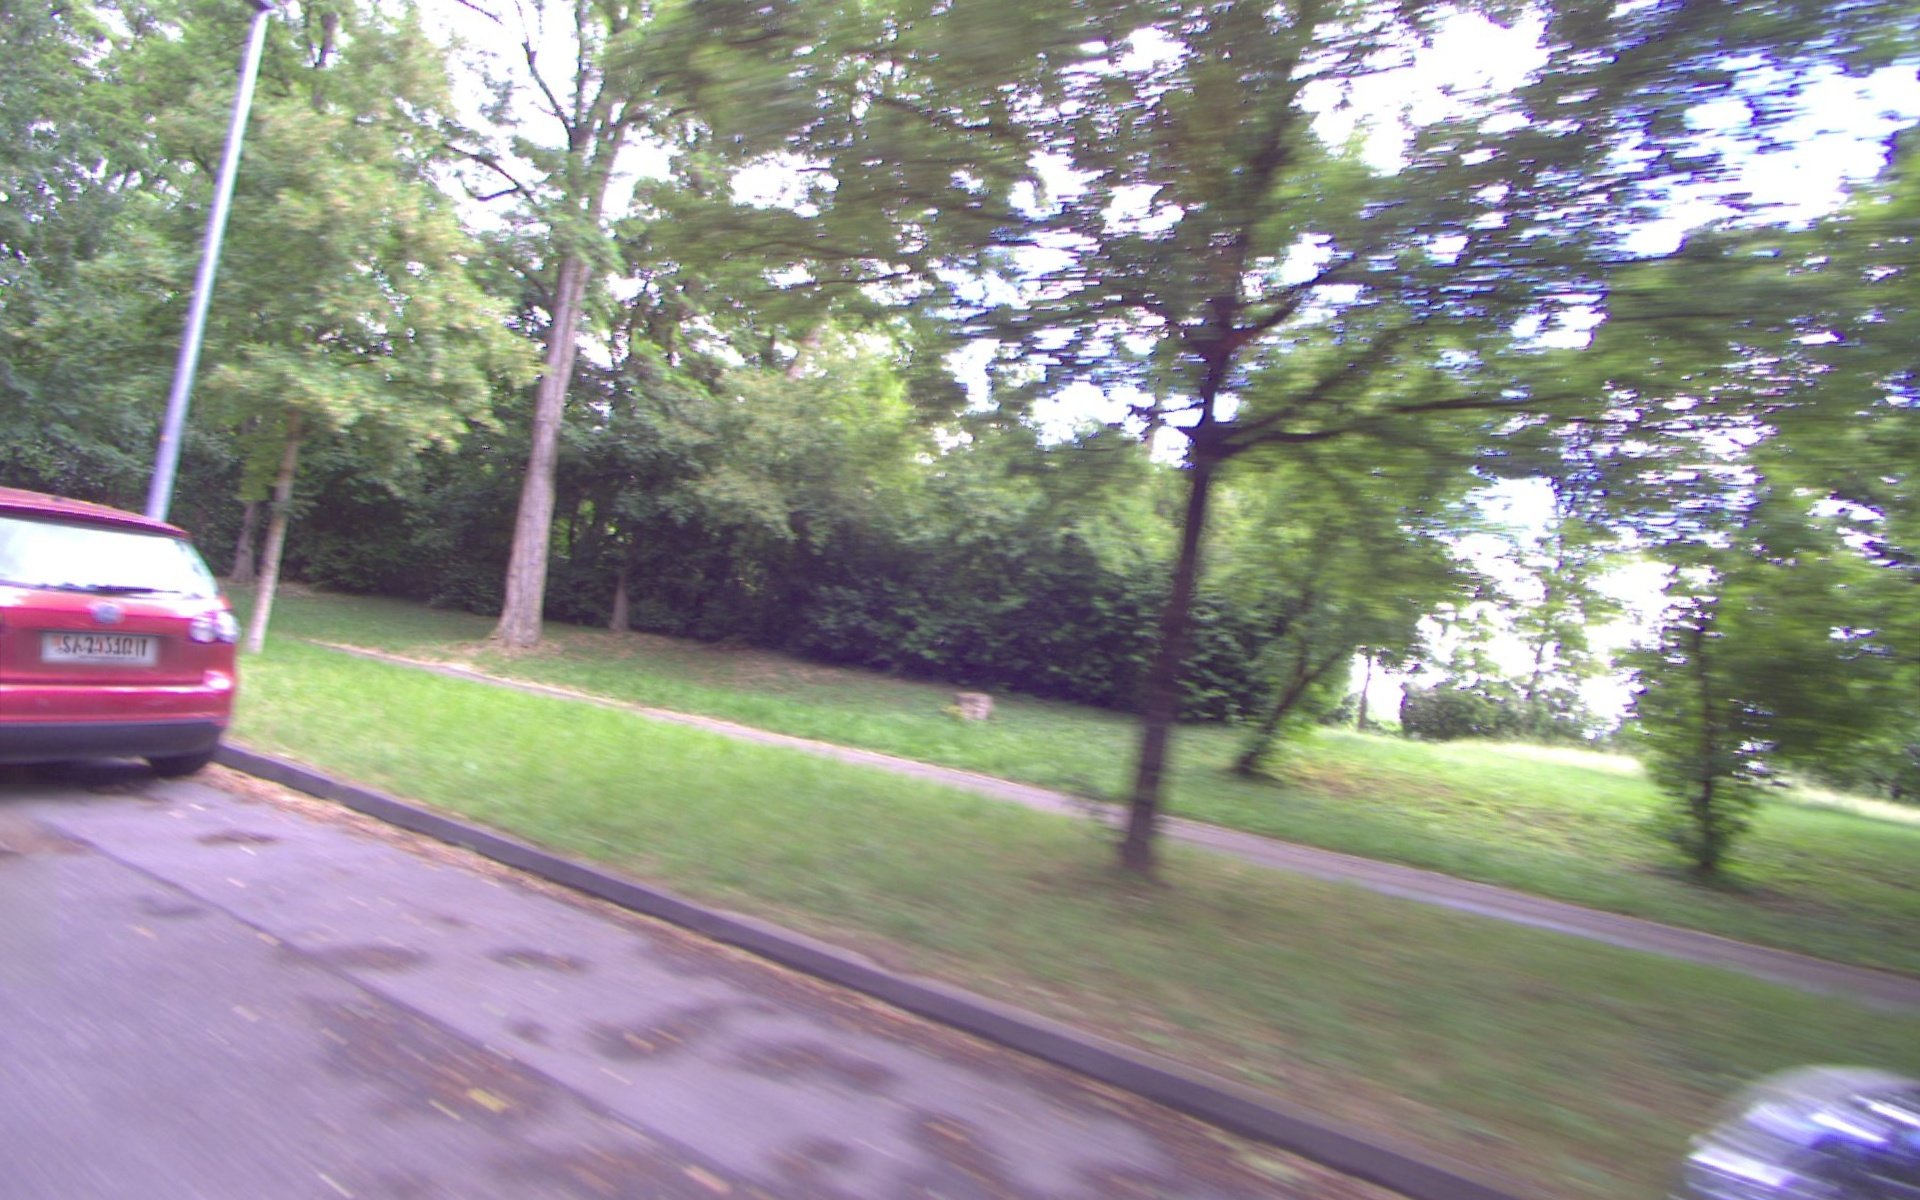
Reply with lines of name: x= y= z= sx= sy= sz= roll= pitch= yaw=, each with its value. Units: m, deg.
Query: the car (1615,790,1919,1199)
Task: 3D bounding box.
car: x=3.210 y=1.287 z=0.791 sx=4.341 sy=1.352 sz=1.755 roll=7 pitch=-3 yaw=30

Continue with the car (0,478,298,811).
car: x=-6.126 y=0.063 z=5.991 sx=3.929 sy=1.580 sz=1.744 roll=6 pitch=-2 yaw=26
